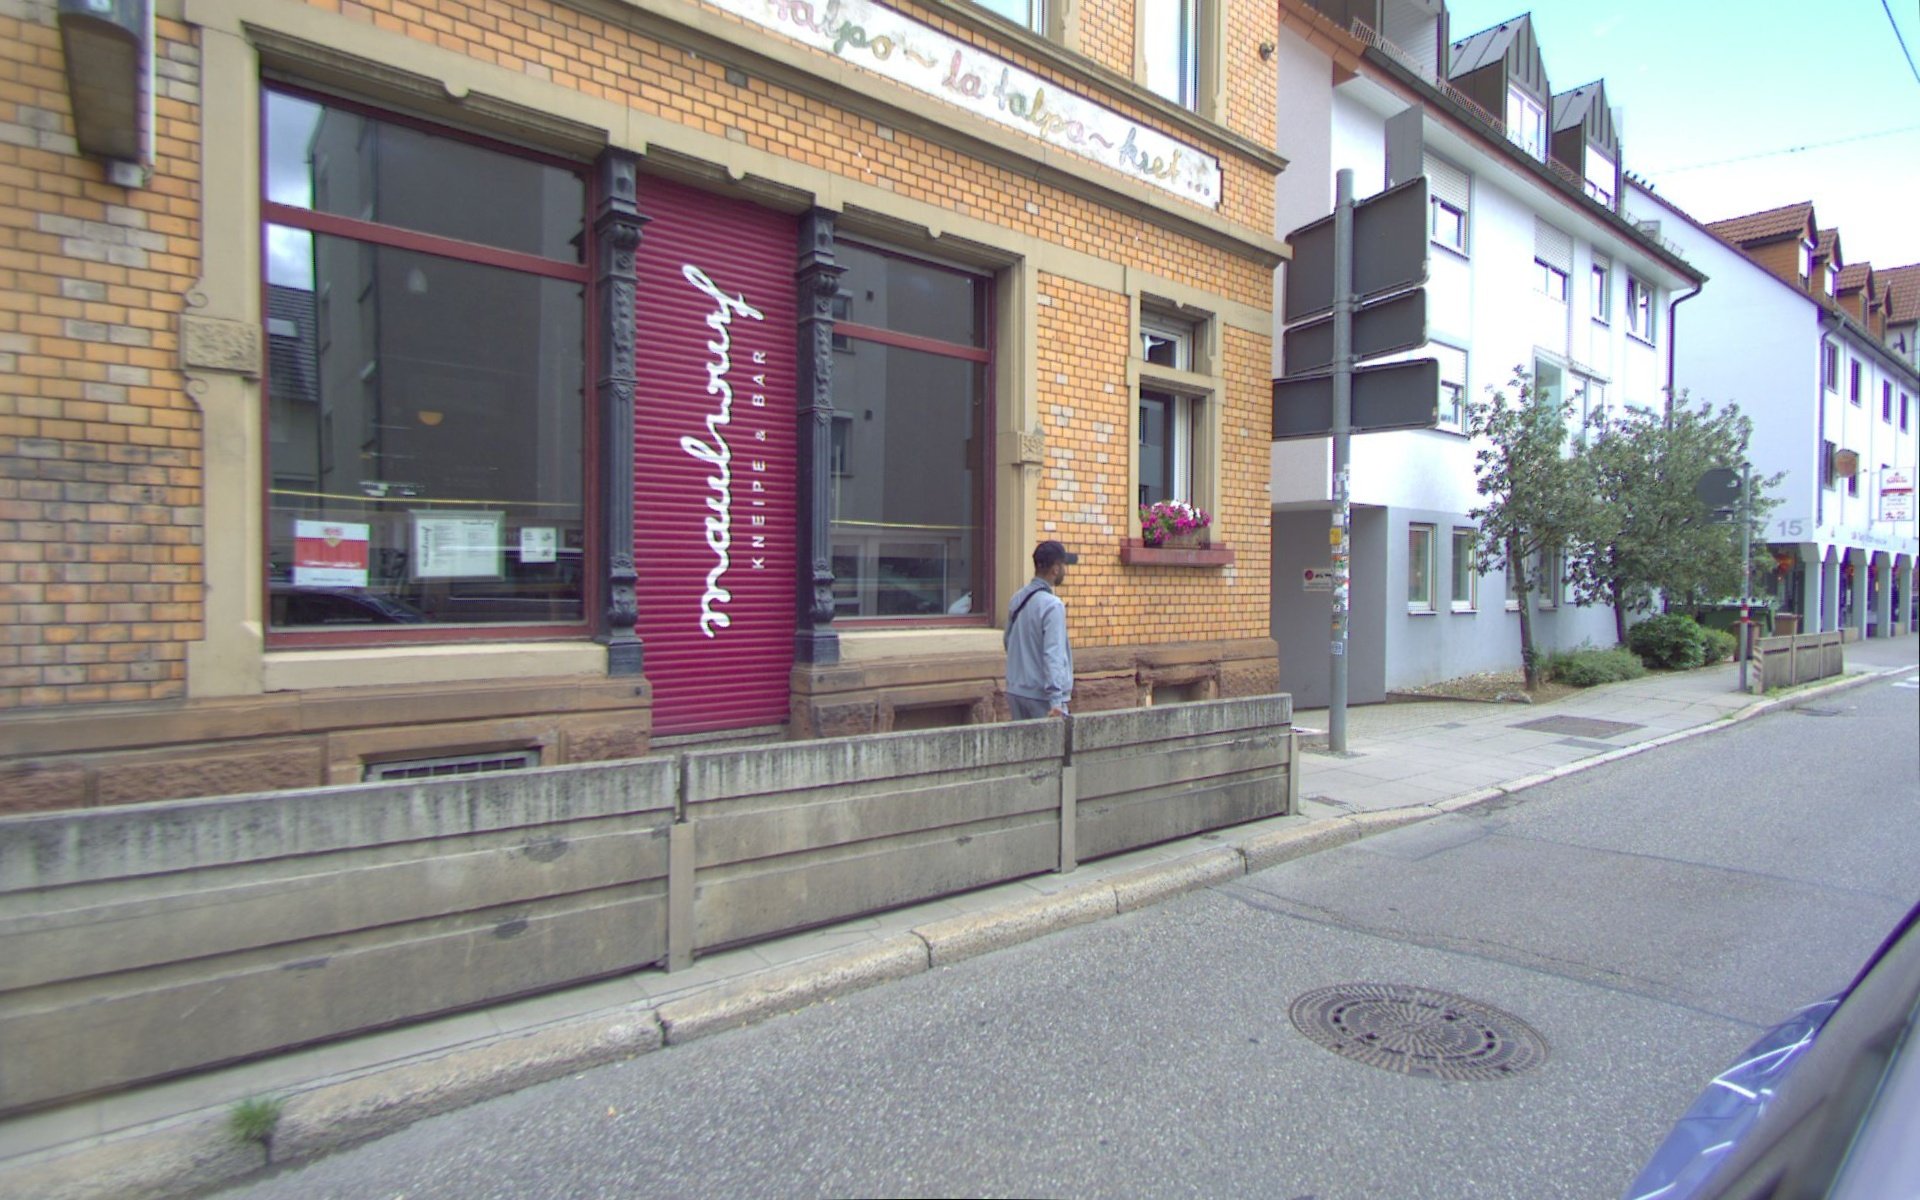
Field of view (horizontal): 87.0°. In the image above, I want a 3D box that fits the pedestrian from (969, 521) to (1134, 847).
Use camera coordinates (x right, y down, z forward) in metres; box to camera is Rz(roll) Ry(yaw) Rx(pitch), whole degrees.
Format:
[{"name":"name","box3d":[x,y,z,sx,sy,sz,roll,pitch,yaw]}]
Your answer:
[{"name":"pedestrian","box3d":[0.530,0.442,5.899,0.638,1.752,0.689,0,1,-41]}]
